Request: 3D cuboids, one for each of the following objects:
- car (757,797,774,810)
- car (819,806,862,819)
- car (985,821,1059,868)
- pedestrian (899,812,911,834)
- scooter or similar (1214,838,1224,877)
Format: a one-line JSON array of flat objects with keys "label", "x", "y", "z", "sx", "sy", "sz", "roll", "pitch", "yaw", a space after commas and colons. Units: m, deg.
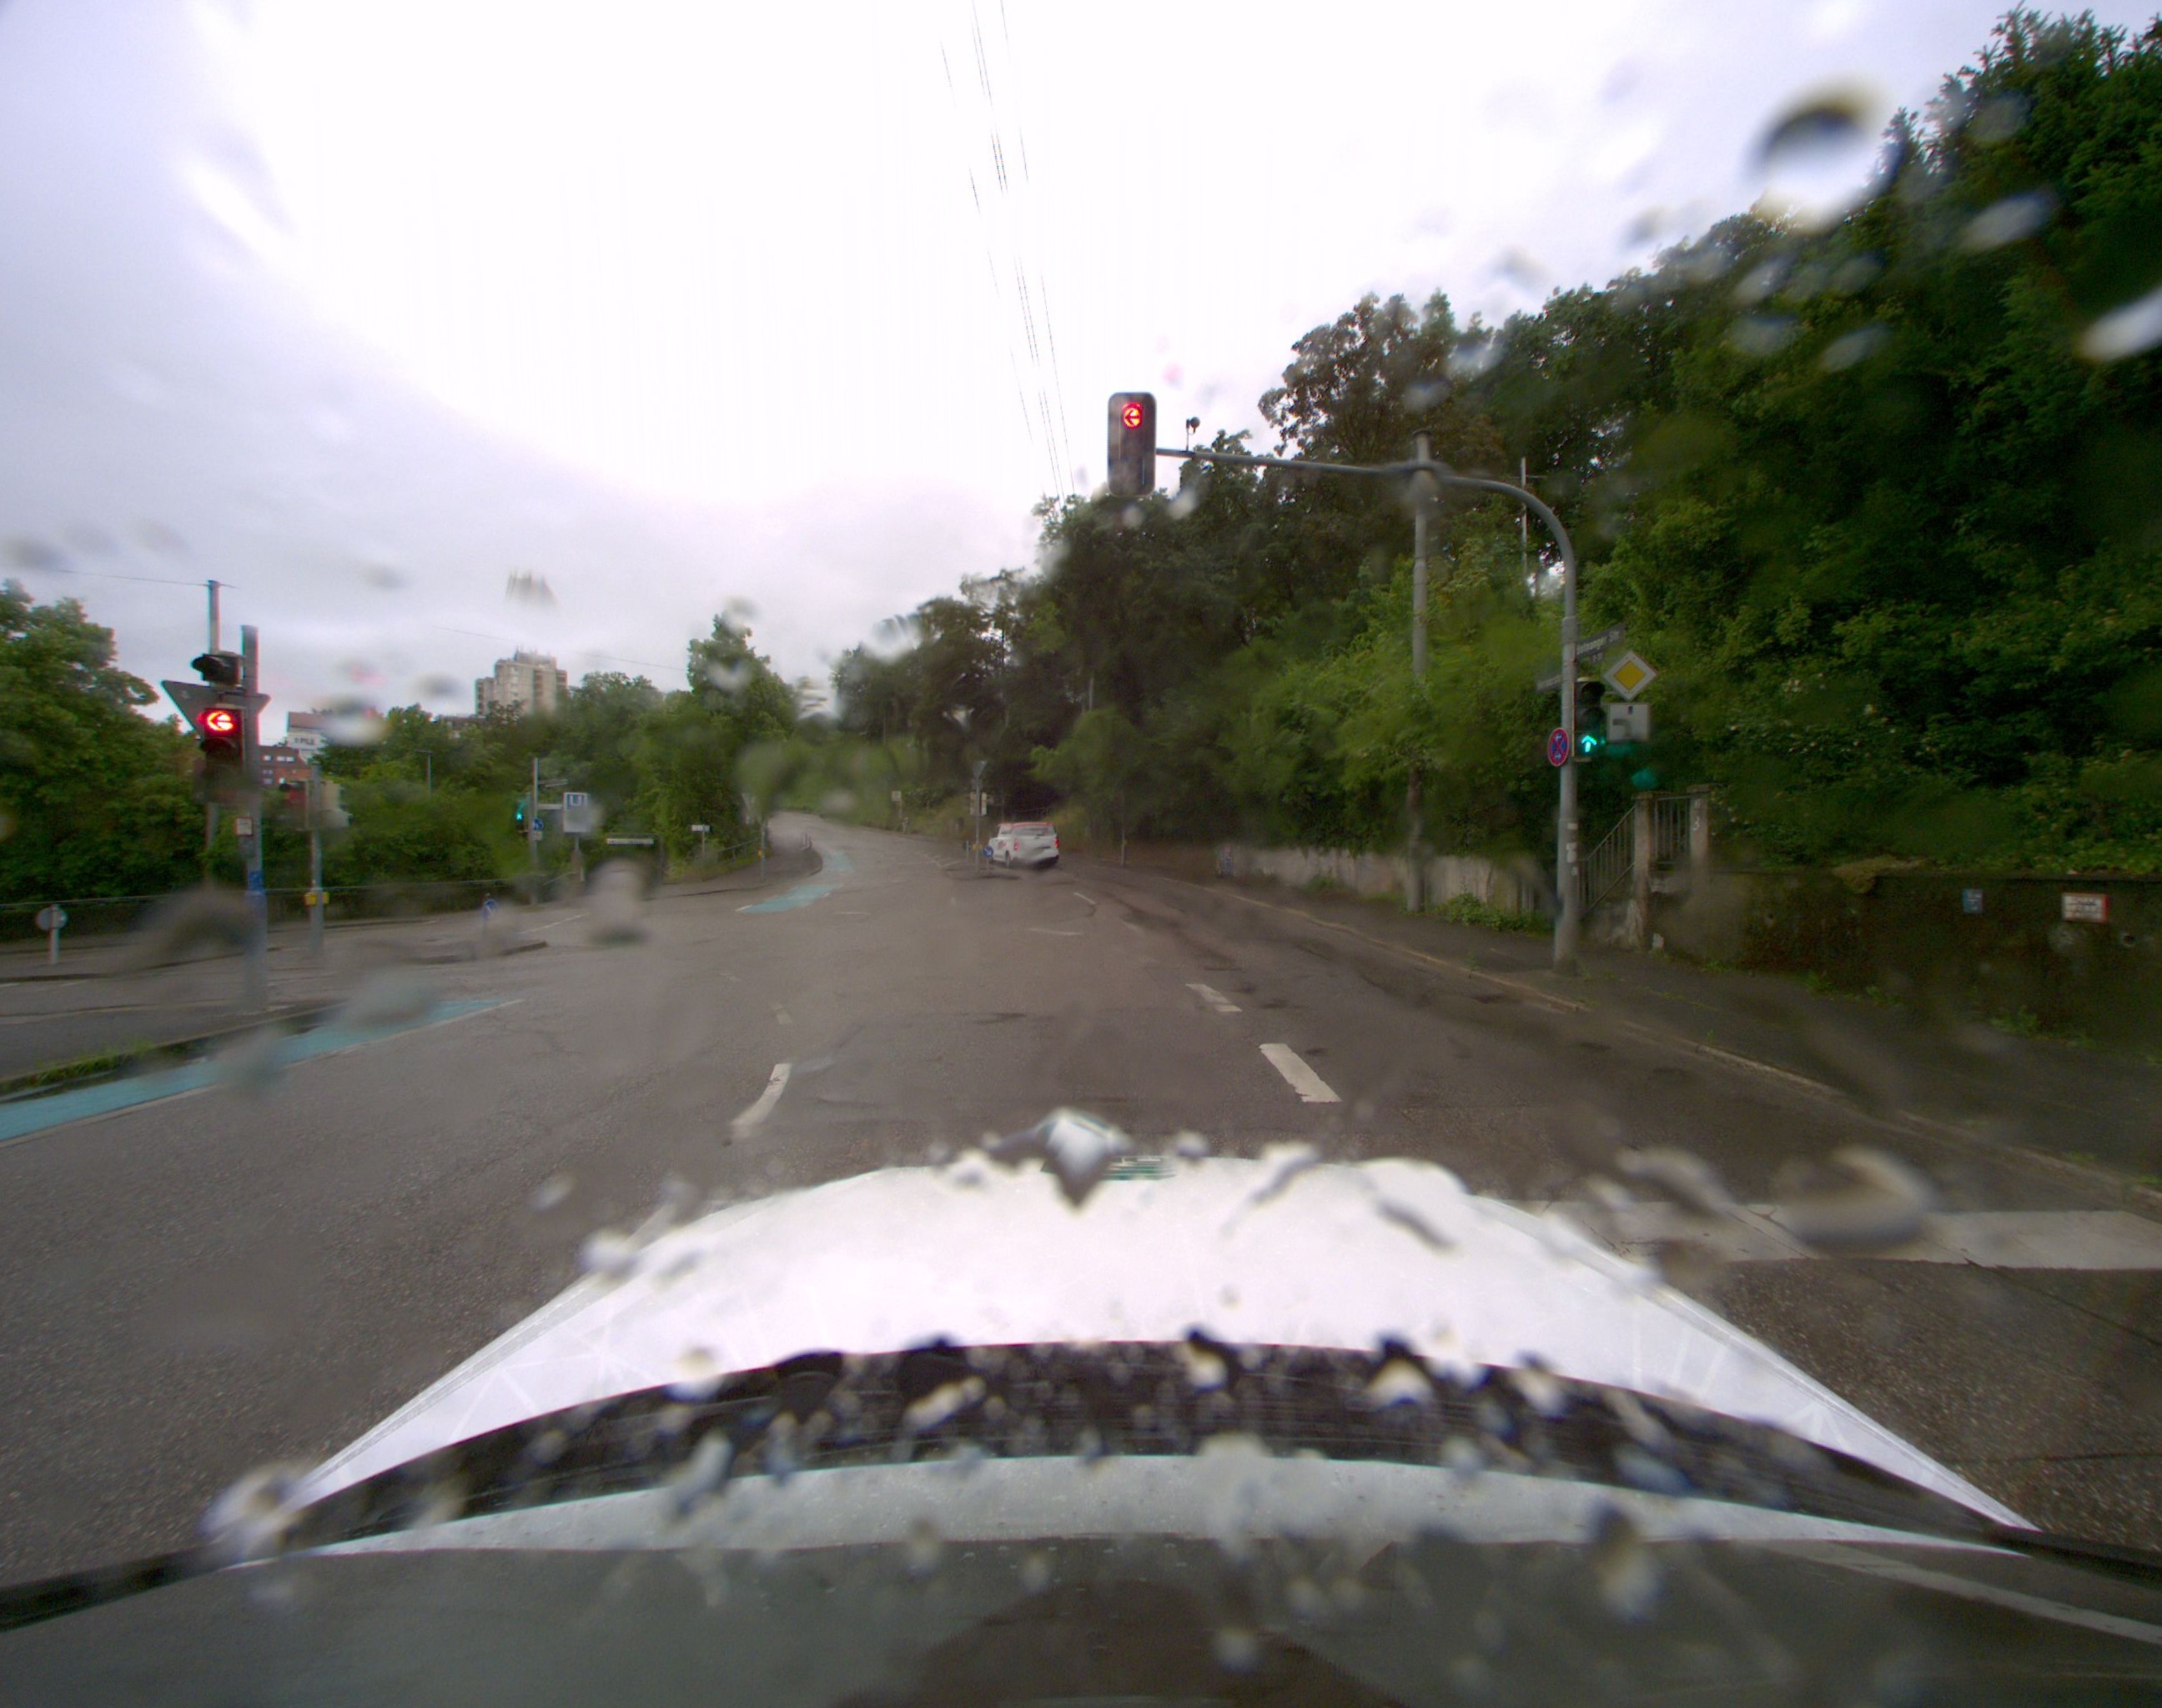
[{"label": "car", "x": -44.871, "y": -7.174, "z": 115.769, "sx": 1.929, "sy": 1.780, "sz": 3.965, "roll": 0, "pitch": 2, "yaw": -28}, {"label": "car", "x": -28.057, "y": -4.819, "z": 94.951, "sx": 4.358, "sy": 1.511, "sz": 1.971, "roll": 1, "pitch": 3, "yaw": 15}, {"label": "car", "x": -2.754, "y": -0.440, "z": 36.782, "sx": 2.073, "sy": 2.006, "sz": 4.782, "roll": -1, "pitch": 1, "yaw": -20}, {"label": "pedestrian", "x": -14.121, "y": -2.487, "z": 65.163, "sx": 0.882, "sy": 1.736, "sz": 0.861, "roll": 0, "pitch": -1, "yaw": -16}, {"label": "scooter or similar", "x": 4.619, "y": 0.105, "z": 27.267, "sx": 0.320, "sy": 1.279, "sz": 0.753, "roll": -1, "pitch": 2, "yaw": 9}]
